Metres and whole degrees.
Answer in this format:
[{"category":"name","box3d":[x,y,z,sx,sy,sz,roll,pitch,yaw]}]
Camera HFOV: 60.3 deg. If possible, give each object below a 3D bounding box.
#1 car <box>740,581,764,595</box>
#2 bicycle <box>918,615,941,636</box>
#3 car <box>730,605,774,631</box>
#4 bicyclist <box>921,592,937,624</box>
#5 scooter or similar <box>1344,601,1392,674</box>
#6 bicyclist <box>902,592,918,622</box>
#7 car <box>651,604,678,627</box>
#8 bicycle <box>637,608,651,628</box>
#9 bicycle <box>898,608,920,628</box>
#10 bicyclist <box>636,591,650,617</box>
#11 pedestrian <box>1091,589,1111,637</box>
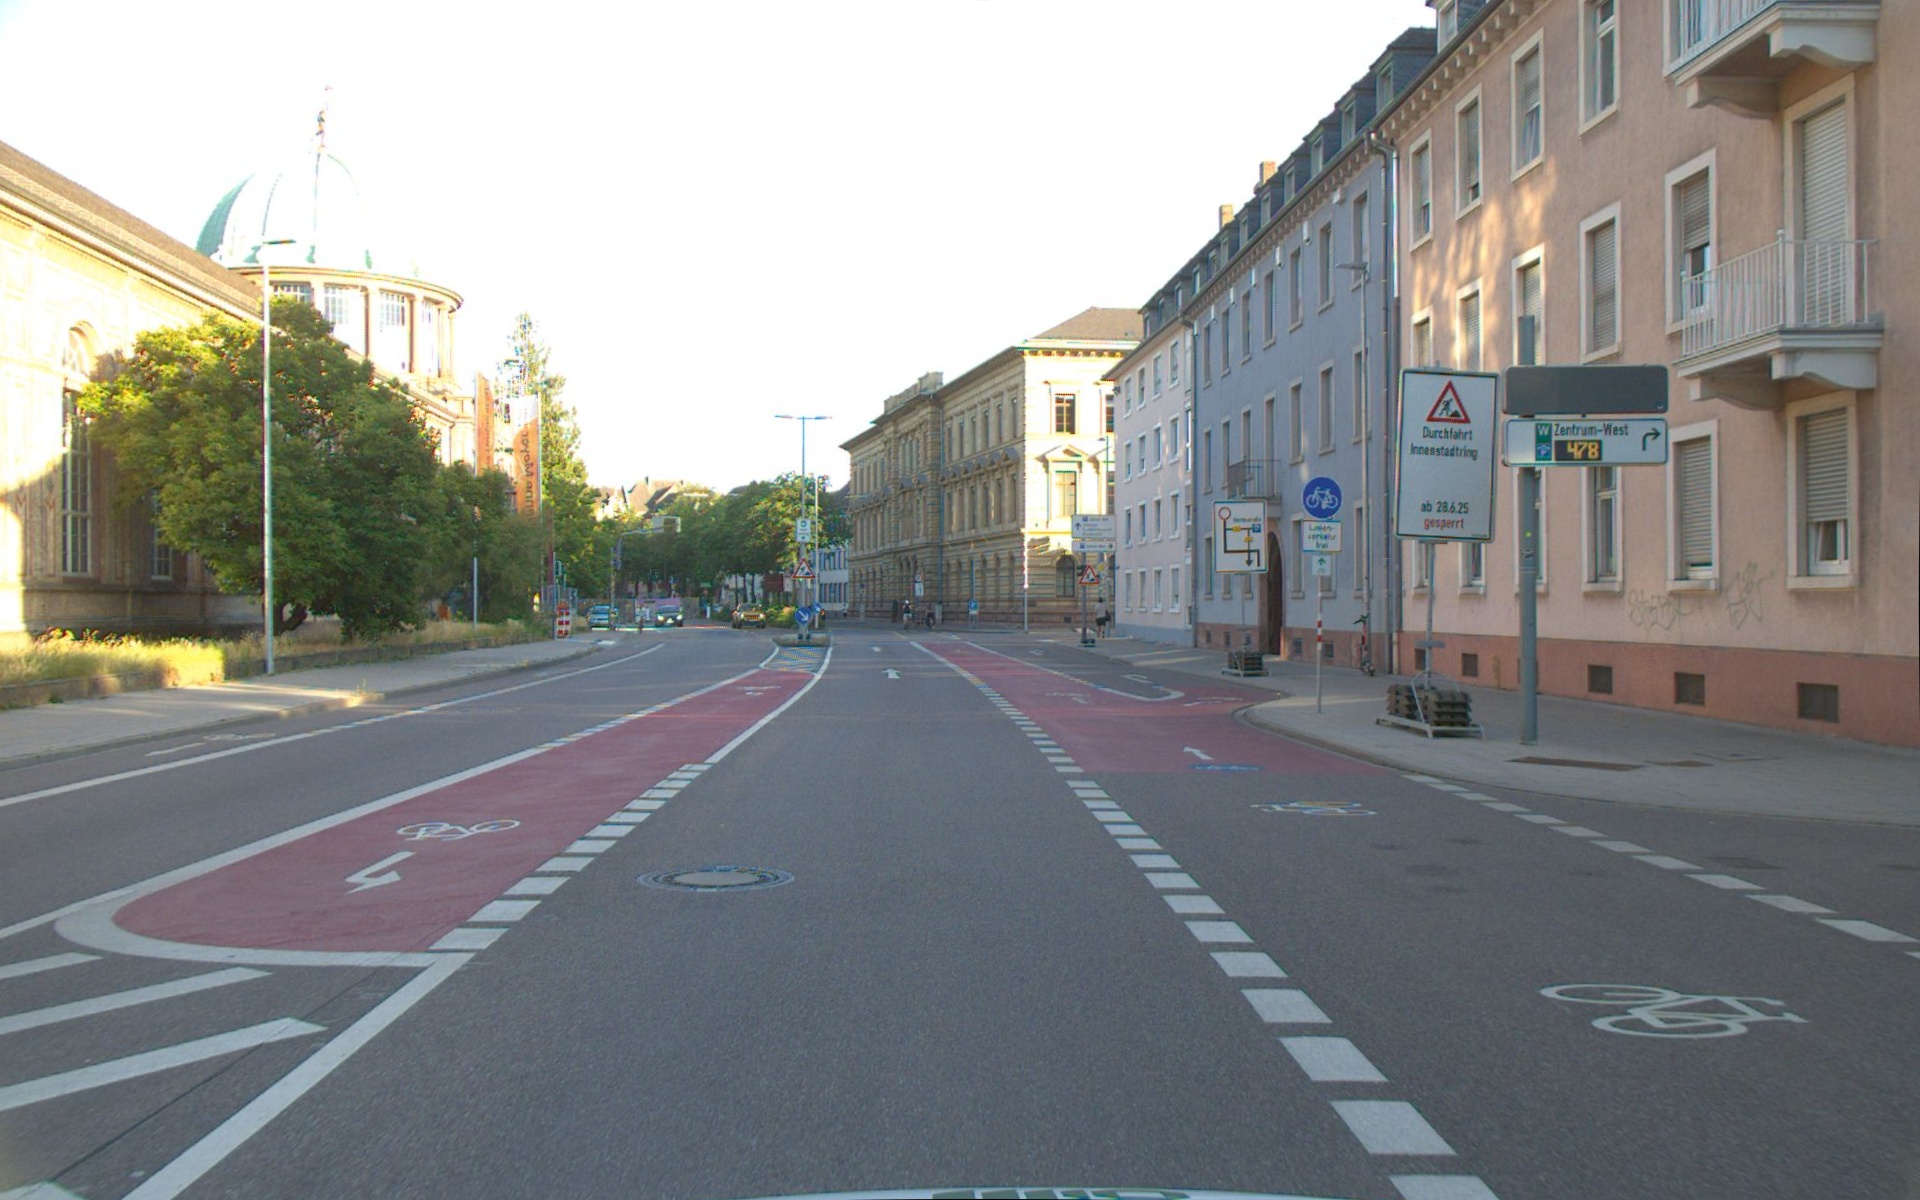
[{"category":"car","box3d":[-24.769,-1.396,196.899,1.789,1.587,3.834,0,-1,-25]},{"category":"bicycle","box3d":[-1.690,1.403,91.516,0.642,1.090,2.247,2,-1,-17]},{"category":"car","box3d":[-13.012,1.128,103.573,1.806,1.574,4.121,-1,0,6]},{"category":"bicyclist","box3d":[-1.727,0.441,91.735,0.639,1.791,0.860,2,-1,-18]},{"category":"scooter or similar","box3d":[8.635,0.778,35.074,0.710,1.484,1.673,-3,0,6]},{"category":"bicyclist","box3d":[-2.784,0.396,91.513,0.659,1.593,0.694,2,-2,-20]},{"category":"car","box3d":[-20.490,1.045,114.969,1.790,1.534,4.417,0,0,-10]},{"category":"bicycle","box3d":[-18.352,1.059,95.985,0.740,1.109,1.928,-2,0,-10]},{"category":"bicycle","box3d":[-2.814,1.016,91.546,0.660,1.090,1.890,2,-1,-20]},{"category":"bicyclist","box3d":[-18.378,0.248,95.977,0.733,1.486,0.935,-2,0,-10]},{"category":"pedestrian","box3d":[6.017,0.548,70.585,0.768,2.049,0.995,0,0,11]}]
